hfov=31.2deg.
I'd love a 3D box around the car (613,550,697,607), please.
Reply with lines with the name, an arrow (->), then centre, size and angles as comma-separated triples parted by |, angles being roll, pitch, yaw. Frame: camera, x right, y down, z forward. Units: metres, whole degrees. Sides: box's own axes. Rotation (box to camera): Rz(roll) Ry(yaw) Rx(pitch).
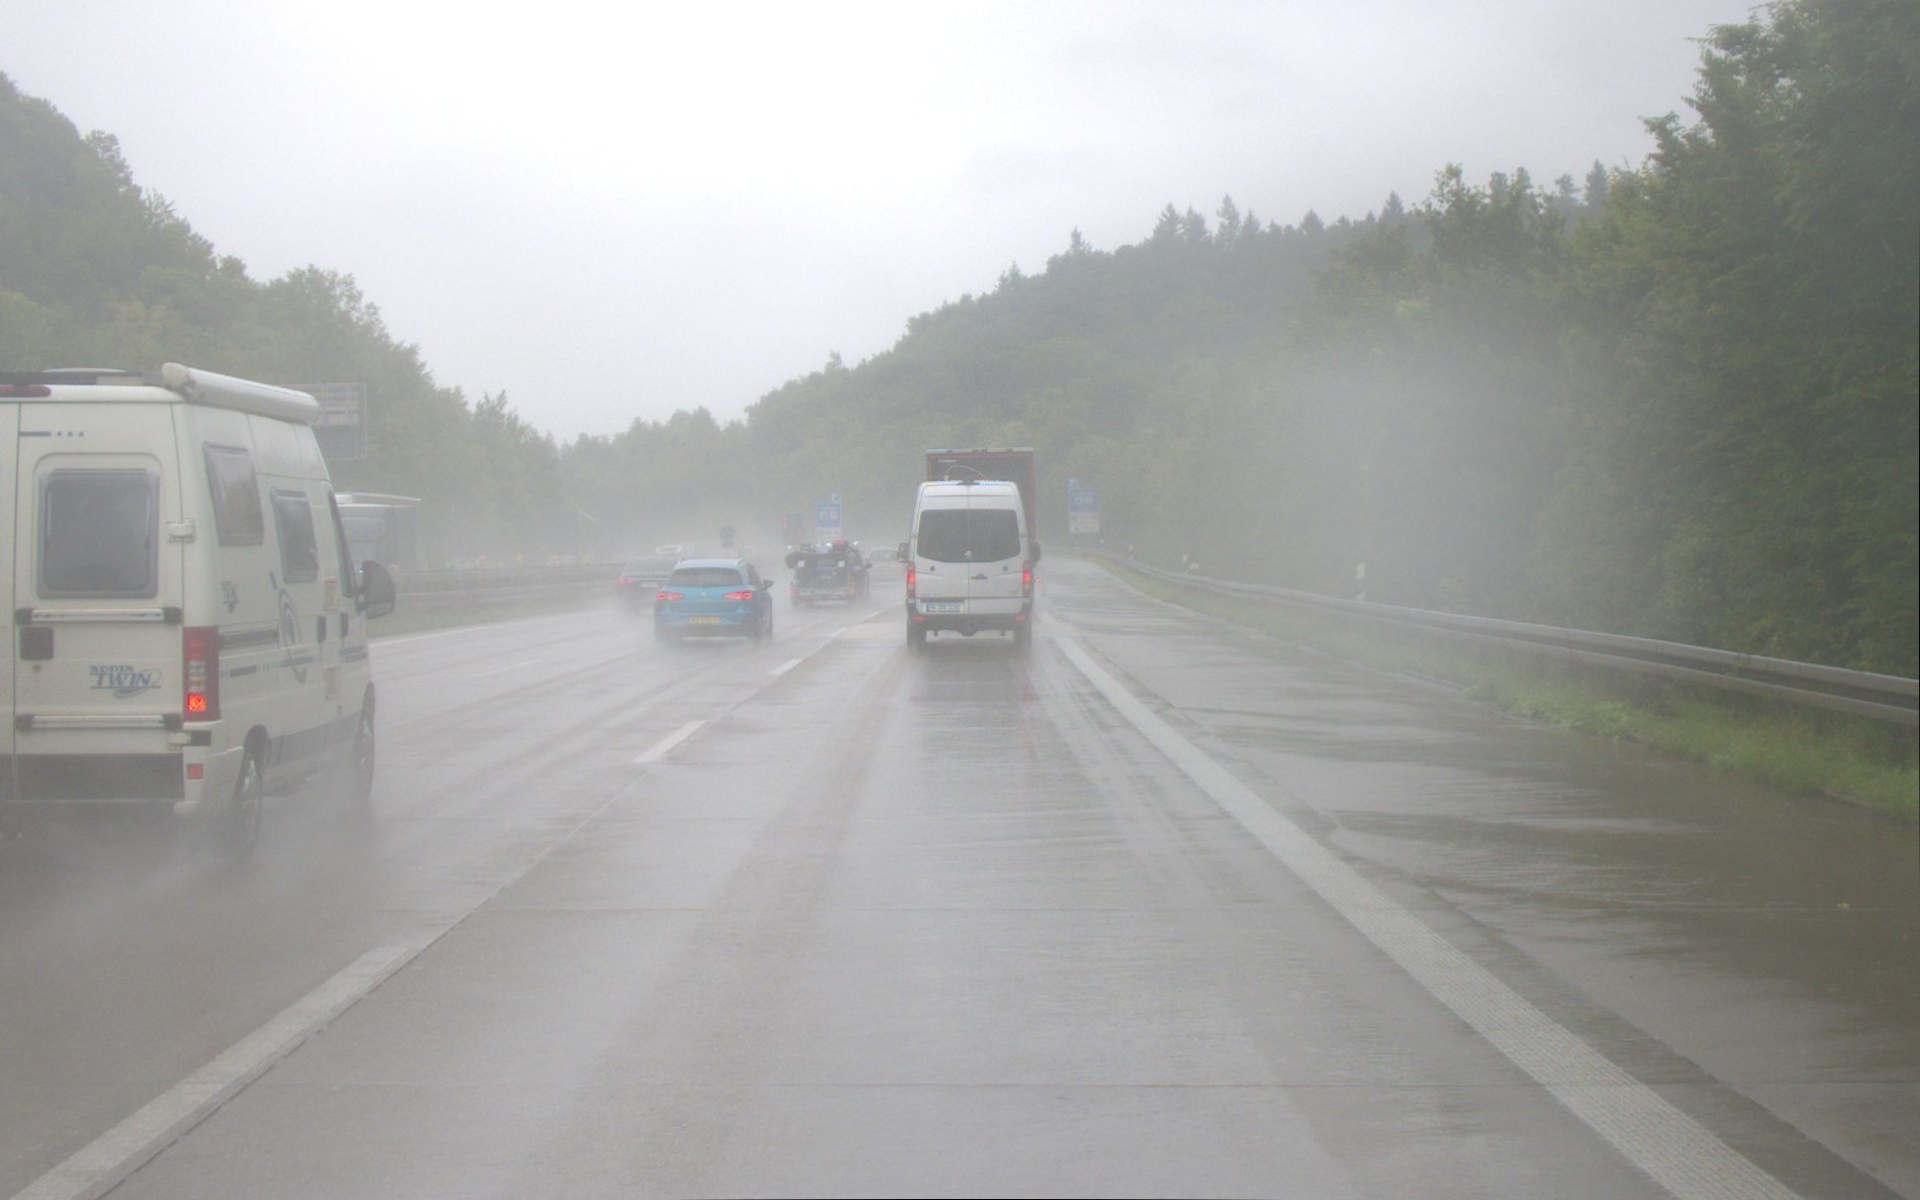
car -> -7.483, -0.550, 84.740 | 1.856, 1.334, 4.352 | 0, 1, -2

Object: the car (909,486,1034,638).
car -> 0.148, -0.631, 55.380 | 1.899, 2.326, 5.251 | 0, 1, -1

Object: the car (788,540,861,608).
car -> -3.695, -0.729, 94.102 | 1.868, 1.804, 4.189 | 0, 1, -1

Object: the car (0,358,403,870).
car -> -4.553, 0.010, 19.214 | 1.997, 2.423, 5.791 | 0, 1, -1

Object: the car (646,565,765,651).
car -> -4.194, 0.110, 57.220 | 1.856, 1.334, 4.352 | 0, 1, -3

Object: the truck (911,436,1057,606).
truck -> 0.585, -2.085, 86.459 | 3.385, 3.954, 8.668 | -1, 3, 0
